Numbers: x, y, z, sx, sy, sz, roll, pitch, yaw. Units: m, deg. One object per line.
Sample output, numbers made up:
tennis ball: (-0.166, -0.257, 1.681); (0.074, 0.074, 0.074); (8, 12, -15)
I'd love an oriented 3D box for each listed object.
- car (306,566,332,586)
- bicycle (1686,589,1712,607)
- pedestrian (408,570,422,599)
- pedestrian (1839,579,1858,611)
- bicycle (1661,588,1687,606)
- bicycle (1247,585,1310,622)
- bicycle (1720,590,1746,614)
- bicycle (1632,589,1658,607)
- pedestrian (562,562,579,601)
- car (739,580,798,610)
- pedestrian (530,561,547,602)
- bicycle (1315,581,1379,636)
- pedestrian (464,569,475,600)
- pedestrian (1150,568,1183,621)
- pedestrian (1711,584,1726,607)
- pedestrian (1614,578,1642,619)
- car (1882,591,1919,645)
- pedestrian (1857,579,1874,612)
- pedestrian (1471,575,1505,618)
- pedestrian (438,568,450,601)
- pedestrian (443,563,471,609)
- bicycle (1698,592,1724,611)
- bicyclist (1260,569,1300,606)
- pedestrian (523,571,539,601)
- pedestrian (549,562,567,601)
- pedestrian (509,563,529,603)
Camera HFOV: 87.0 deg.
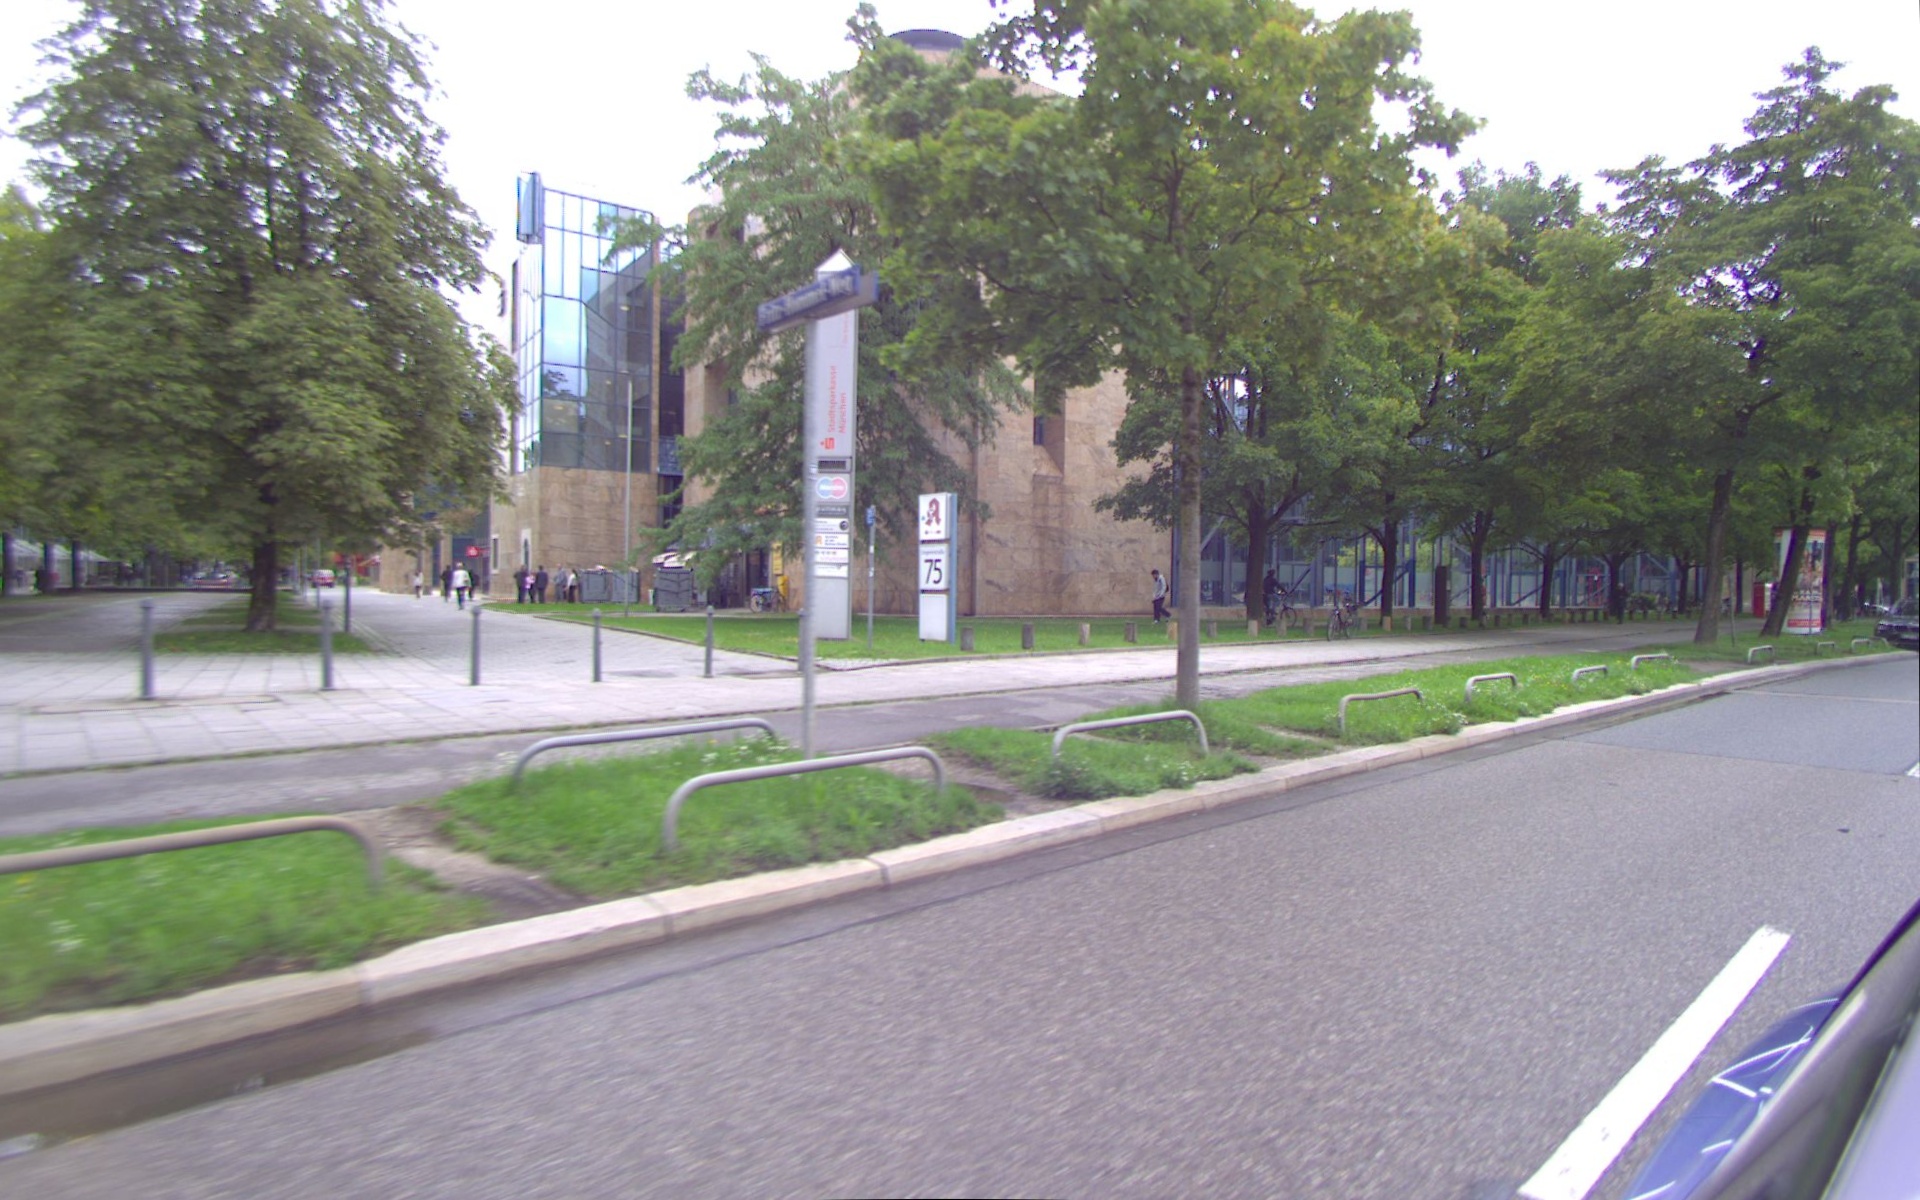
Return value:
car: (-68.559, -2.528, 108.306); (1.959, 2.039, 4.005); (-1, 0, -28)
bicycle: (39.768, -0.113, 54.449); (2.102, 0.952, 0.513); (0, 1, -37)
pedestrian: (-30.246, -0.863, 56.161); (0.584, 1.589, 0.421); (1, 1, -9)
pedestrian: (48.307, -0.279, 55.042); (0.601, 1.710, 0.612); (-1, 3, -39)
bicycle: (38.485, -0.178, 54.525); (1.730, 0.952, 0.619); (0, 1, -37)
bicycle: (9.938, 0.108, 31.563); (1.729, 1.144, 0.728); (1, 1, -15)
bicycle: (40.801, 0.118, 53.395); (2.102, 1.207, 0.513); (-1, 2, -37)
bicycle: (37.237, -0.119, 55.010); (2.026, 0.952, 0.572); (-1, 2, -37)
pedestrian: (-17.170, -0.808, 44.605); (0.591, 1.699, 0.495); (2, 1, 44)
car: (-6.925, -0.195, 36.713); (2.041, 1.026, 0.677); (-2, 3, -40)
pedestrian: (-17.809, -0.786, 42.806); (0.581, 1.699, 0.504); (1, 1, -14)
bicycle: (9.335, 0.193, 24.385); (1.887, 1.266, 0.621); (0, 2, -42)
pedestrian: (-25.376, -0.795, 52.348); (0.503, 1.589, 0.421); (1, 1, -25)
pedestrian: (6.626, -0.183, 32.466); (0.860, 1.666, 0.574); (1, 1, -12)
pedestrian: (40.009, -0.228, 53.373); (0.418, 1.193, 0.507); (-1, 3, -35)
pedestrian: (27.476, -0.074, 41.647); (0.633, 1.665, 0.738); (-1, 3, -39)
car: (30.717, 0.548, 31.755); (4.519, 1.610, 1.866); (0, 2, -38)
pedestrian: (48.795, -0.236, 54.520); (0.649, 1.743, 0.528); (-1, 3, -39)
pedestrian: (20.863, -0.135, 39.982); (0.845, 1.665, 0.741); (0, 3, -21)
pedestrian: (-25.769, -0.767, 50.567); (0.503, 1.651, 0.507); (1, 1, -27)
pedestrian: (-18.926, -0.538, 38.080); (0.849, 1.699, 0.589); (0, 1, -36)
bicycle: (40.138, 0.082, 54.062); (2.102, 0.952, 0.513); (0, 1, -37)
bicyclist: (9.982, -0.401, 31.564); (0.939, 1.144, 0.728); (1, 1, -14)
pedestrian: (-19.116, -0.626, 45.067); (0.418, 1.299, 0.507); (1, 1, 40)
pedestrian: (-17.320, -0.794, 43.599); (0.582, 1.699, 0.563); (0, 1, -36)
pedestrian: (-18.711, -0.723, 42.902); (0.585, 1.699, 0.500); (1, 1, 16)
